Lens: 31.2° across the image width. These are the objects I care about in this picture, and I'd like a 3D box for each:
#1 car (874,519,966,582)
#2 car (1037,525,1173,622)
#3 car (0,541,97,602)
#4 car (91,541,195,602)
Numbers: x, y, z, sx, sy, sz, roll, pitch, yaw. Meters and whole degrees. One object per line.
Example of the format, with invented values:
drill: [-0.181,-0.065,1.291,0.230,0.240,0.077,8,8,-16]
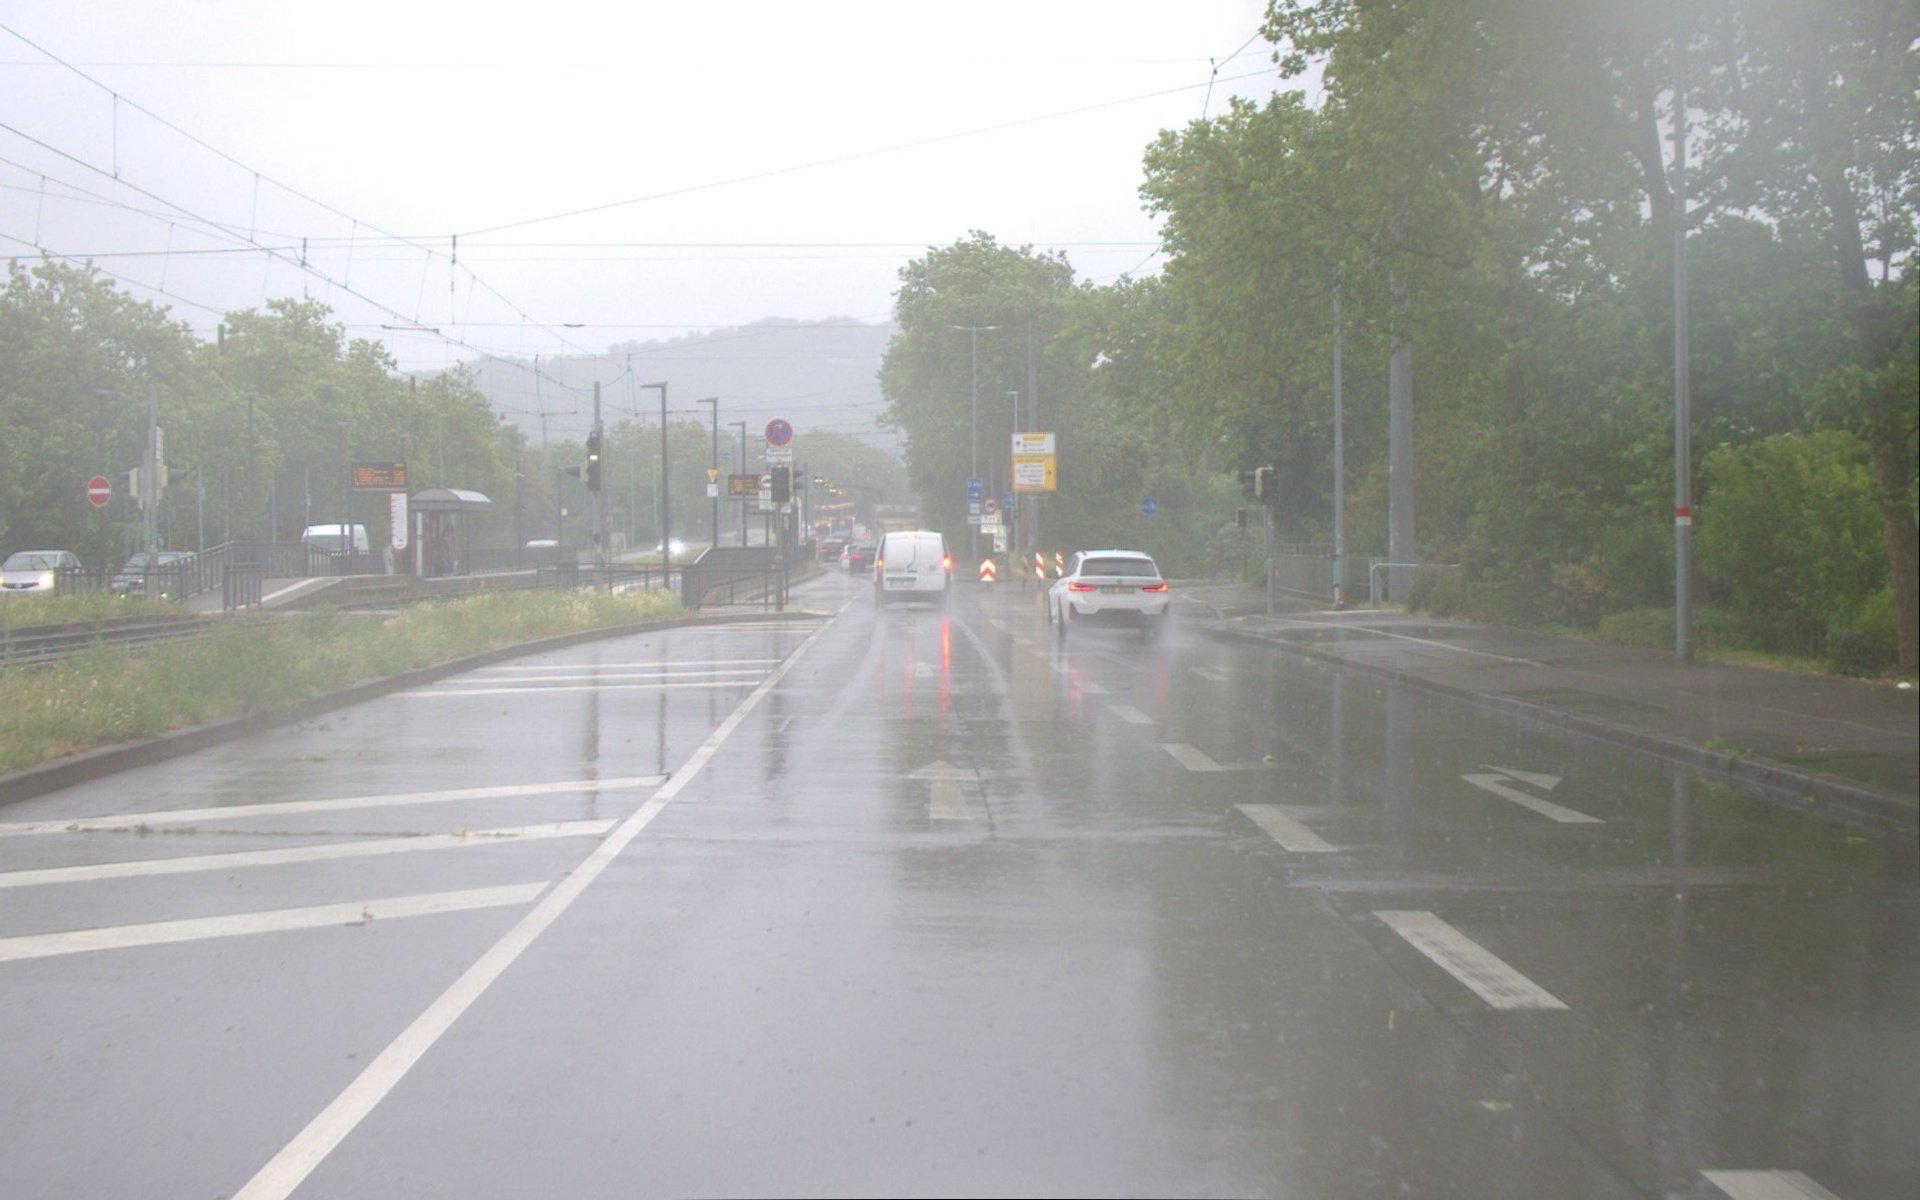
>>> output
car: [-0.911,-1.143,79.079,2.077,1.415,4.000,0,1,0]
car: [2.365,-0.462,57.130,1.948,1.531,4.467,0,1,-1]
car: [-23.261,-0.738,87.404,1.720,1.489,4.000,0,1,-1]
car: [-20.434,-0.729,86.133,1.720,1.489,4.000,0,1,-1]
